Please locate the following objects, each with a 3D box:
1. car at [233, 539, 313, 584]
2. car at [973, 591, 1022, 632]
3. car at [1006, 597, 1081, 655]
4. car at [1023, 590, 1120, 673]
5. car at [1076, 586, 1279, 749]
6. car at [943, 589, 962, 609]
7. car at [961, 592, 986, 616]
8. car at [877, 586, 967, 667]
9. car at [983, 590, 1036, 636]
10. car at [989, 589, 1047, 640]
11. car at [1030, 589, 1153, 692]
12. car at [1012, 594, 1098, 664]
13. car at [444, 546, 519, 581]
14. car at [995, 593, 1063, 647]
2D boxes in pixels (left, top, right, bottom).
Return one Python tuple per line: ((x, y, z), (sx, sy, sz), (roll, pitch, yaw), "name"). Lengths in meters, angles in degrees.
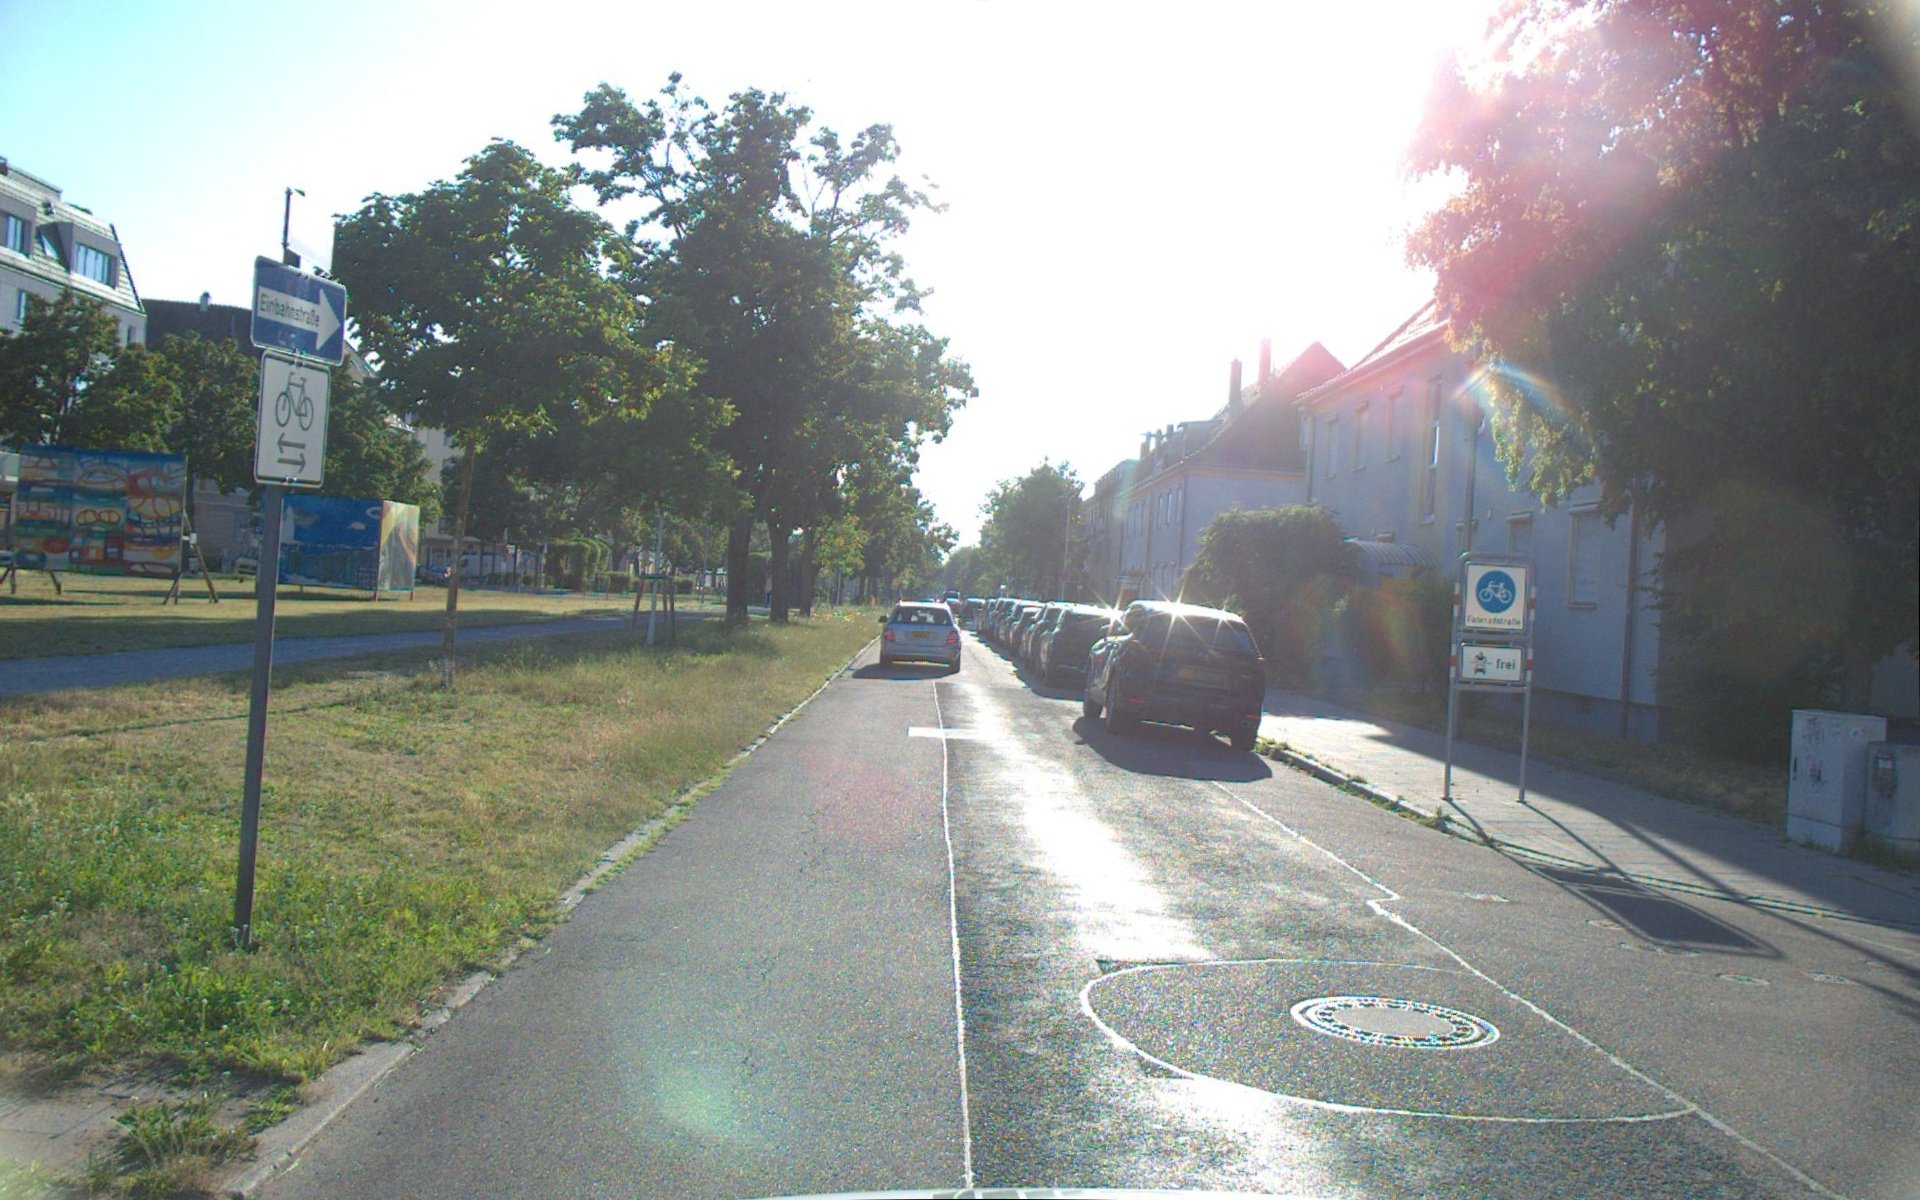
((-34.400, -1.915, 82.950), (1.953, 2.093, 5.051), (0, -1, -1), "car")
((1.713, 0.506, 76.370), (1.684, 1.667, 4.560), (5, 0, -5), "car")
((2.458, 0.747, 49.752), (1.953, 1.487, 4.561), (5, 0, 0), "car")
((2.581, 0.691, 39.382), (1.817, 1.686, 4.819), (4, 0, -1), "car")
((2.770, 0.819, 22.202), (1.796, 1.761, 5.030), (6, 0, -1), "car")
((-0.798, -0.124, 178.434), (1.948, 2.058, 3.999), (4, 0, -1), "car")
((0.956, 0.294, 120.184), (1.686, 1.625, 3.999), (3, -1, -1), "car")
((-0.802, 0.533, 36.161), (1.786, 1.593, 4.000), (2, 1, -1), "car")
((1.943, 0.511, 66.075), (1.741, 1.671, 4.755), (3, 0, -2), "car")
((2.100, 0.537, 60.747), (1.730, 1.663, 4.763), (5, -1, -2), "car")
((2.608, 0.763, 33.857), (1.895, 1.749, 4.620), (6, 0, -1), "car")
((2.514, 0.763, 44.824), (1.695, 1.574, 4.205), (8, -1, -3), "car")
((-43.515, -3.283, 150.471), (6.232, 2.767, 1.982), (3, 0, -32), "car")
((2.236, 0.619, 54.942), (1.691, 1.588, 4.413), (4, 0, -4), "car")
